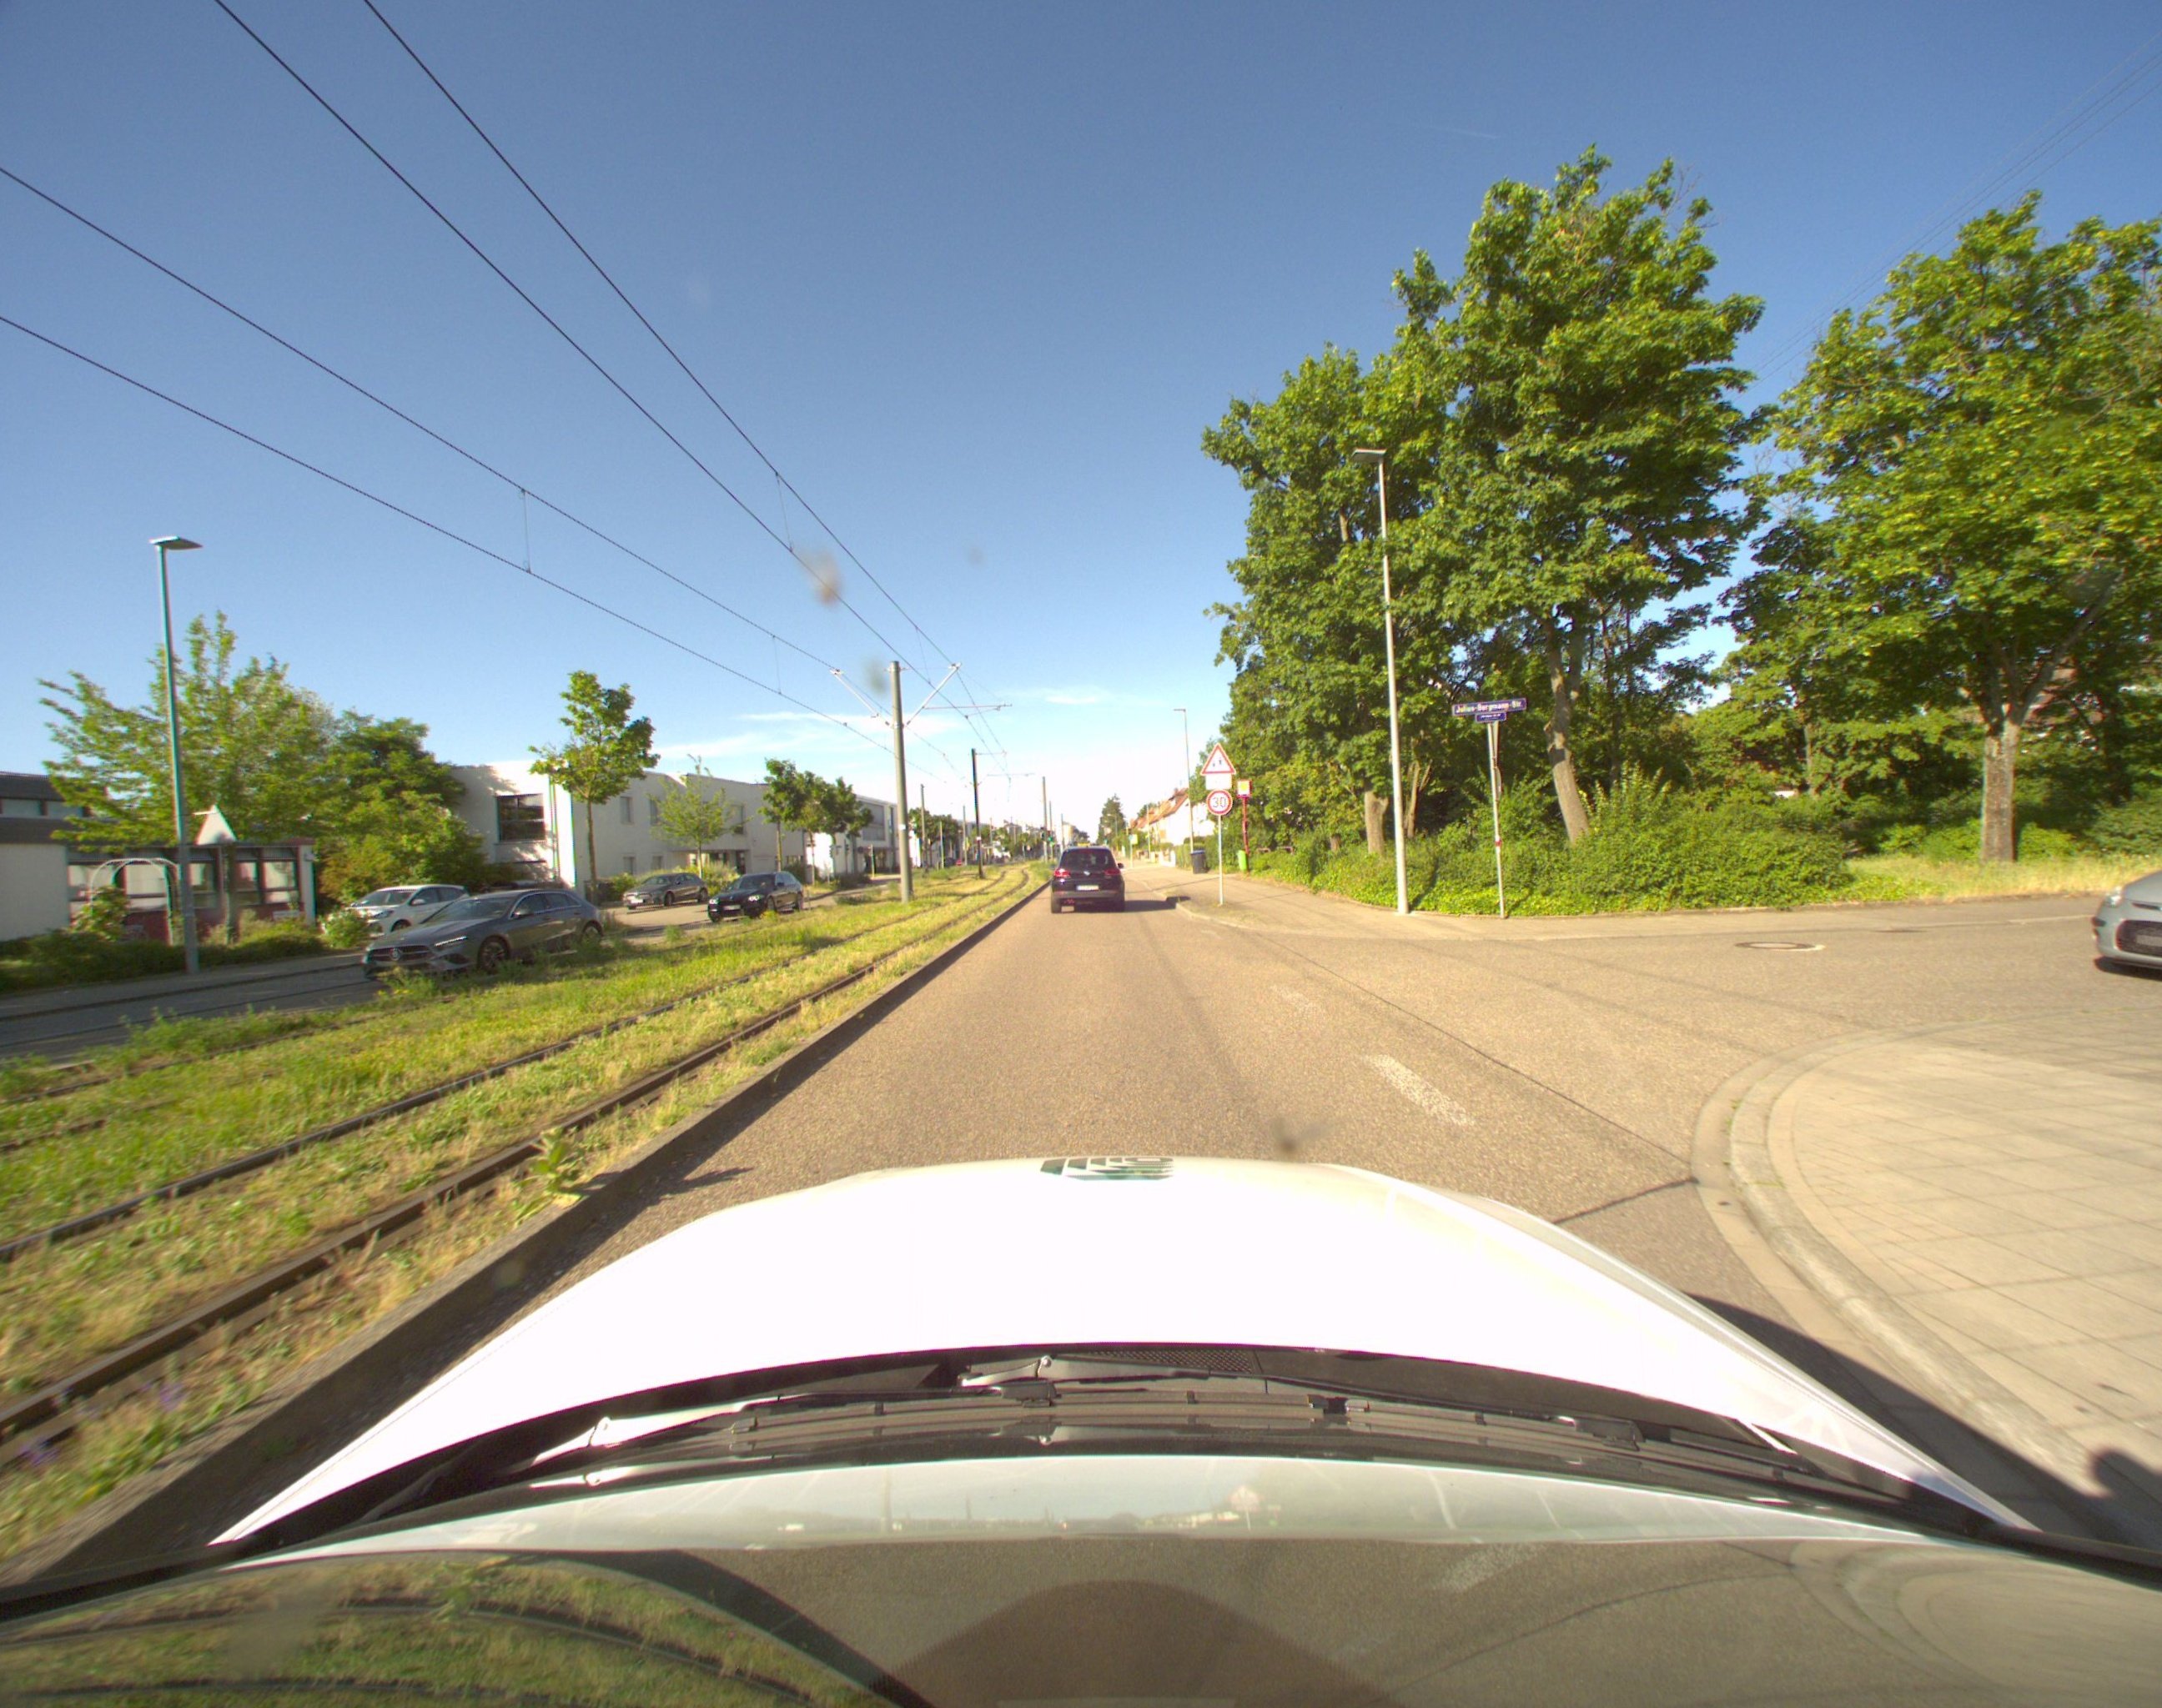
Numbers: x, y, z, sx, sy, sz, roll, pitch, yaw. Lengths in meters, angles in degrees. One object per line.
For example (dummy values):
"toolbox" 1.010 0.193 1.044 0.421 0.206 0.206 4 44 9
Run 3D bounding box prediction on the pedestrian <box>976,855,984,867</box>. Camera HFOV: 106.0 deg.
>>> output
"pedestrian" -13.421 0.914 108.177 0.883 1.587 0.624 -3 0 -18

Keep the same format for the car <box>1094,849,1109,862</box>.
"car" 2.783 0.185 112.850 1.771 1.670 3.998 -3 0 -1

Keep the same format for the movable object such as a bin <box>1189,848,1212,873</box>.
"movable object such as a bin" 5.694 0.313 38.800 0.971 1.110 1.172 -3 0 4

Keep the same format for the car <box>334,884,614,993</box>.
"car" -10.759 1.400 14.943 1.682 1.388 4.388 -5 0 1

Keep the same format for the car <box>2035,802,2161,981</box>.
"car" 11.071 0.224 7.031 3.580 1.530 1.648 -3 -1 2

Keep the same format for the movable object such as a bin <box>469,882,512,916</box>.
"movable object such as a bin" -25.615 1.939 35.338 0.660 1.382 1.425 -2 0 9

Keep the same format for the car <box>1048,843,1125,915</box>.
"car" 0.096 0.592 21.353 1.770 1.670 3.998 -2 0 -1

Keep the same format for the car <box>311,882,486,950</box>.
"car" -18.402 1.606 22.191 1.539 1.491 3.774 -2 0 0

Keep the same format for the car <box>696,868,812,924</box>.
"car" -10.711 1.300 27.110 1.757 1.444 4.916 -5 0 0

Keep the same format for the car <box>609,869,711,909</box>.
"car" -18.150 1.473 35.354 1.802 1.461 4.324 -2 0 5

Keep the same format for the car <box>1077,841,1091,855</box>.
"car" 0.590 -1.180 158.521 2.385 2.564 5.533 -3 0 2

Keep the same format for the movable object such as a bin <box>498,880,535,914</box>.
"movable object such as a bin" -25.517 1.934 36.814 0.660 1.433 1.258 -2 0 9
